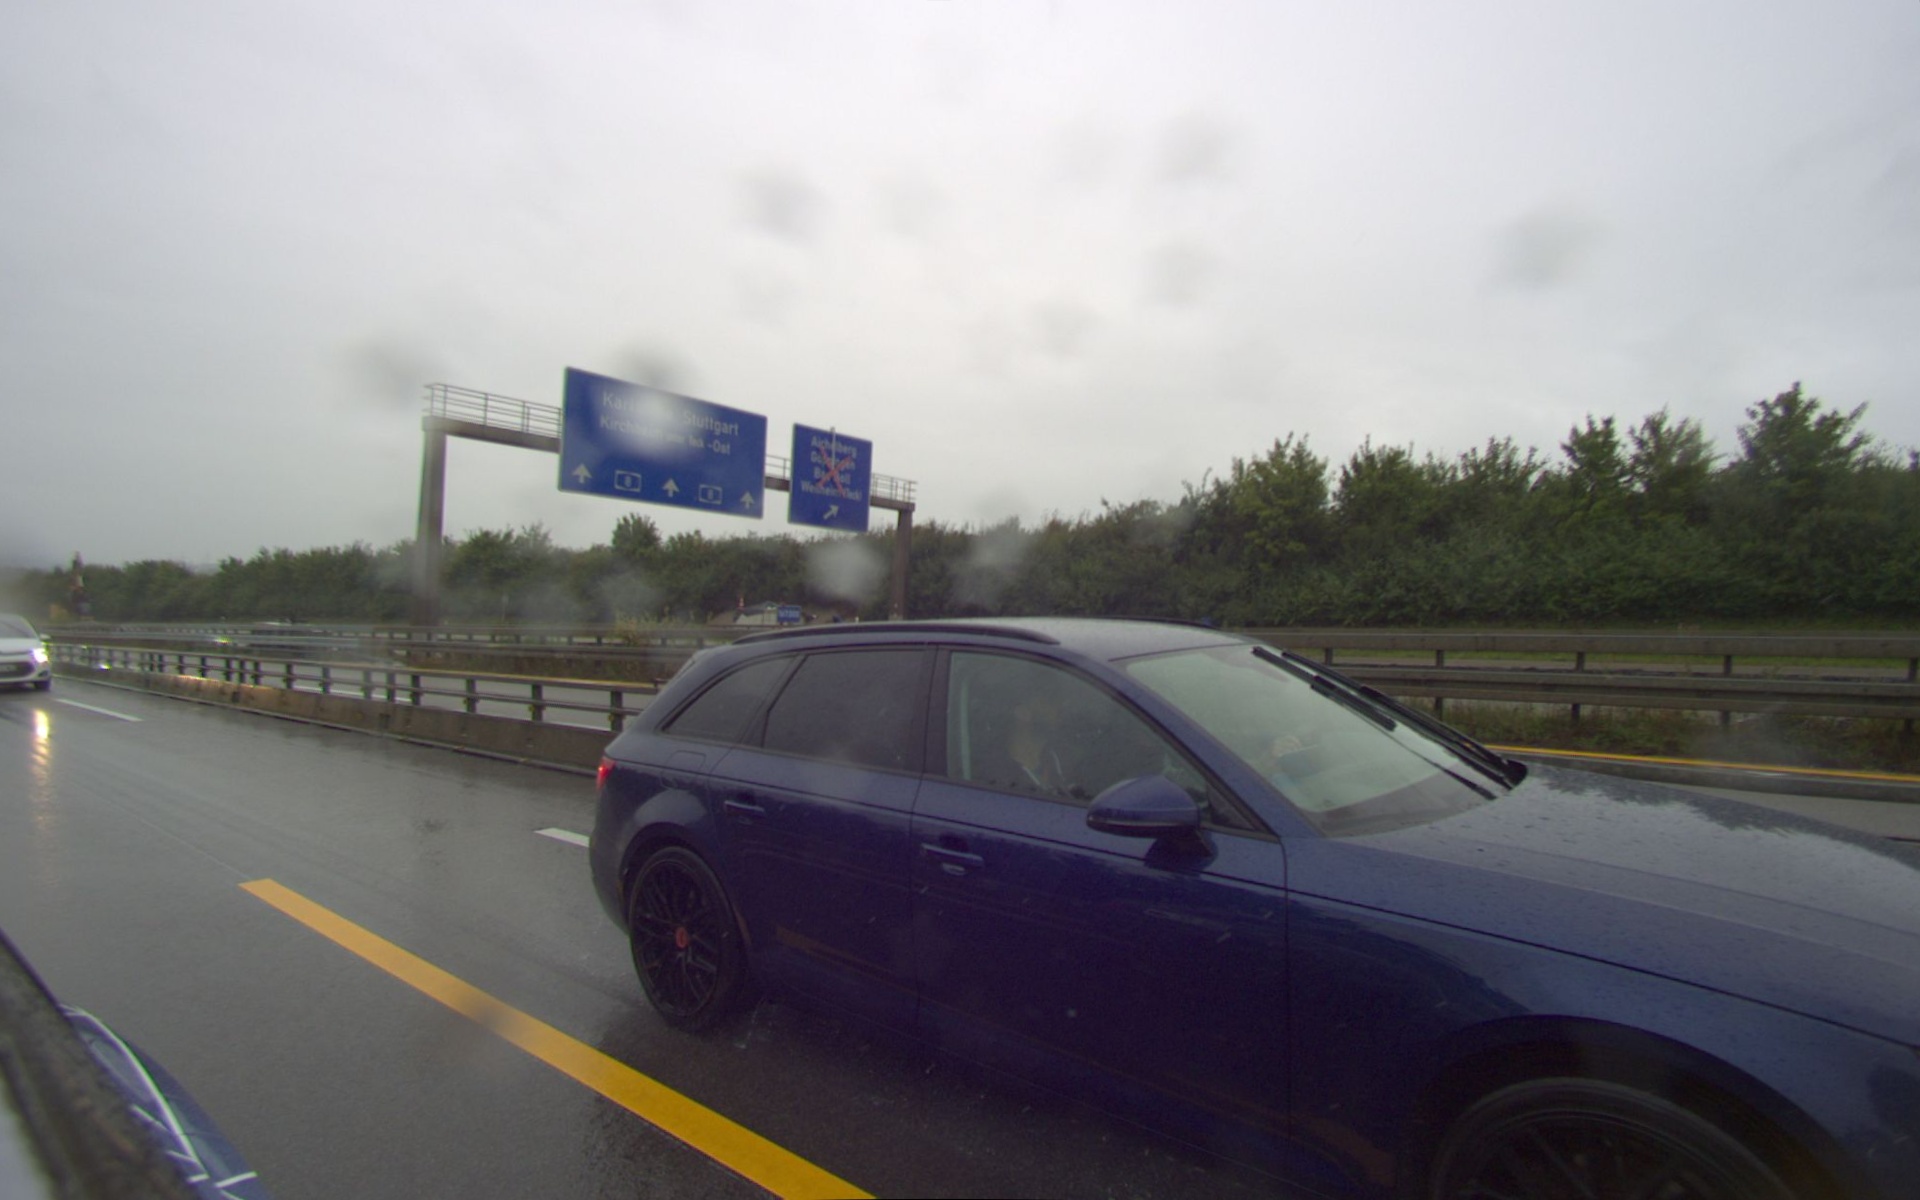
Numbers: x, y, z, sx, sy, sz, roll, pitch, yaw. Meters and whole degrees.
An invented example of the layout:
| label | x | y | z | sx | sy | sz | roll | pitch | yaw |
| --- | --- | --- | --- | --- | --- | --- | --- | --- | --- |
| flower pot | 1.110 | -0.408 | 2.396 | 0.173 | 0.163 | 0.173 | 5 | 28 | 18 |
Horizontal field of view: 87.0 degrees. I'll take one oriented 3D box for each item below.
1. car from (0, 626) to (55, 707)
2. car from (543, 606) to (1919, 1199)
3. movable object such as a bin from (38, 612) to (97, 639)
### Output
| label | x | y | z | sx | sy | sz | roll | pitch | yaw |
| --- | --- | --- | --- | --- | --- | --- | --- | --- | --- |
| car | -20.766 | 1.402 | 21.329 | 4.306 | 1.608 | 1.953 | -3 | -3 | 40 |
| car | 0.734 | 0.795 | 3.202 | 4.629 | 1.509 | 1.973 | -1 | -1 | 41 |
| movable object such as a bin | -97.049 | 2.777 | 110.003 | 6.321 | 2.819 | 3.729 | -1 | -1 | 38 |
